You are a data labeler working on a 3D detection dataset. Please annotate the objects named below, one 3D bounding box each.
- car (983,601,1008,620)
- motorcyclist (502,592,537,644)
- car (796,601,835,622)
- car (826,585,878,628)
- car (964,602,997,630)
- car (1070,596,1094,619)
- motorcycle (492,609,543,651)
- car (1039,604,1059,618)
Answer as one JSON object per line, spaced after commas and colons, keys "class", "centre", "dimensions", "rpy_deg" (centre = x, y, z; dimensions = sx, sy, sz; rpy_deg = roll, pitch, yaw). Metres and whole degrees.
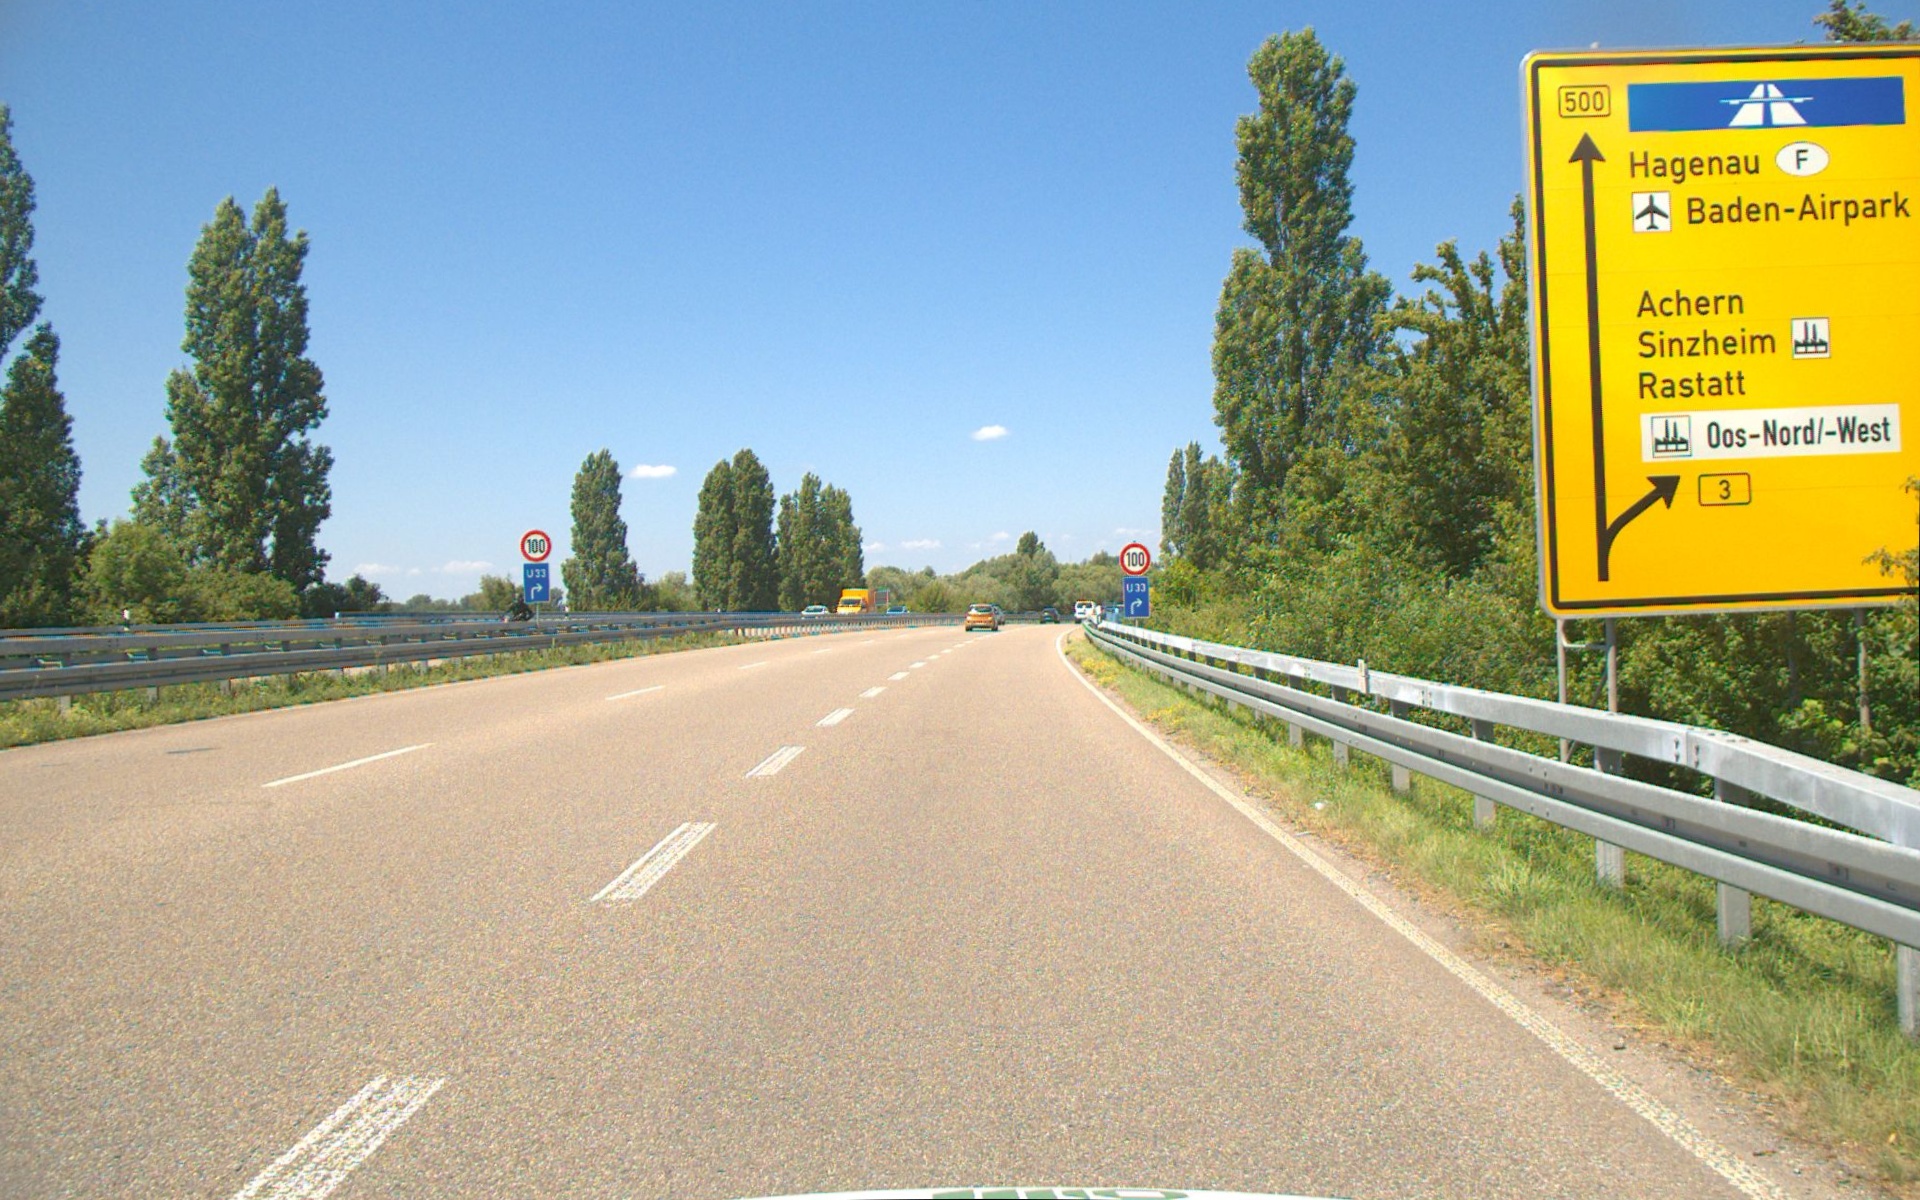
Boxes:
{"class": "car", "centre": [2.922, 0.864, 134.876], "dimensions": [1.802, 1.476, 4.002], "rpy_deg": [0, 0, 4]}
{"class": "motorcyclist", "centre": [-12.744, 0.519, 47.849], "dimensions": [0.775, 1.459, 0.767], "rpy_deg": [-1, -1, 0]}
{"class": "car", "centre": [-10.352, 0.811, 118.961], "dimensions": [1.813, 1.457, 4.798], "rpy_deg": [-1, 0, 6]}
{"class": "car", "centre": [-8.633, 0.495, 132.809], "dimensions": [2.256, 3.349, 7.034], "rpy_deg": [-1, 0, 12]}
{"class": "car", "centre": [1.166, 0.872, 92.651], "dimensions": [1.803, 1.489, 4.001], "rpy_deg": [0, 0, 2]}
{"class": "car", "centre": [10.892, 0.655, 147.063], "dimensions": [1.802, 1.928, 4.003], "rpy_deg": [0, 0, 9]}
{"class": "motorcycle", "centre": [-12.748, 0.864, 47.753], "dimensions": [0.775, 1.164, 2.529], "rpy_deg": [-1, -1, 0]}
{"class": "car", "centre": [9.852, 1.238, 183.117], "dimensions": [1.902, 1.489, 4.003], "rpy_deg": [0, 0, 6]}
